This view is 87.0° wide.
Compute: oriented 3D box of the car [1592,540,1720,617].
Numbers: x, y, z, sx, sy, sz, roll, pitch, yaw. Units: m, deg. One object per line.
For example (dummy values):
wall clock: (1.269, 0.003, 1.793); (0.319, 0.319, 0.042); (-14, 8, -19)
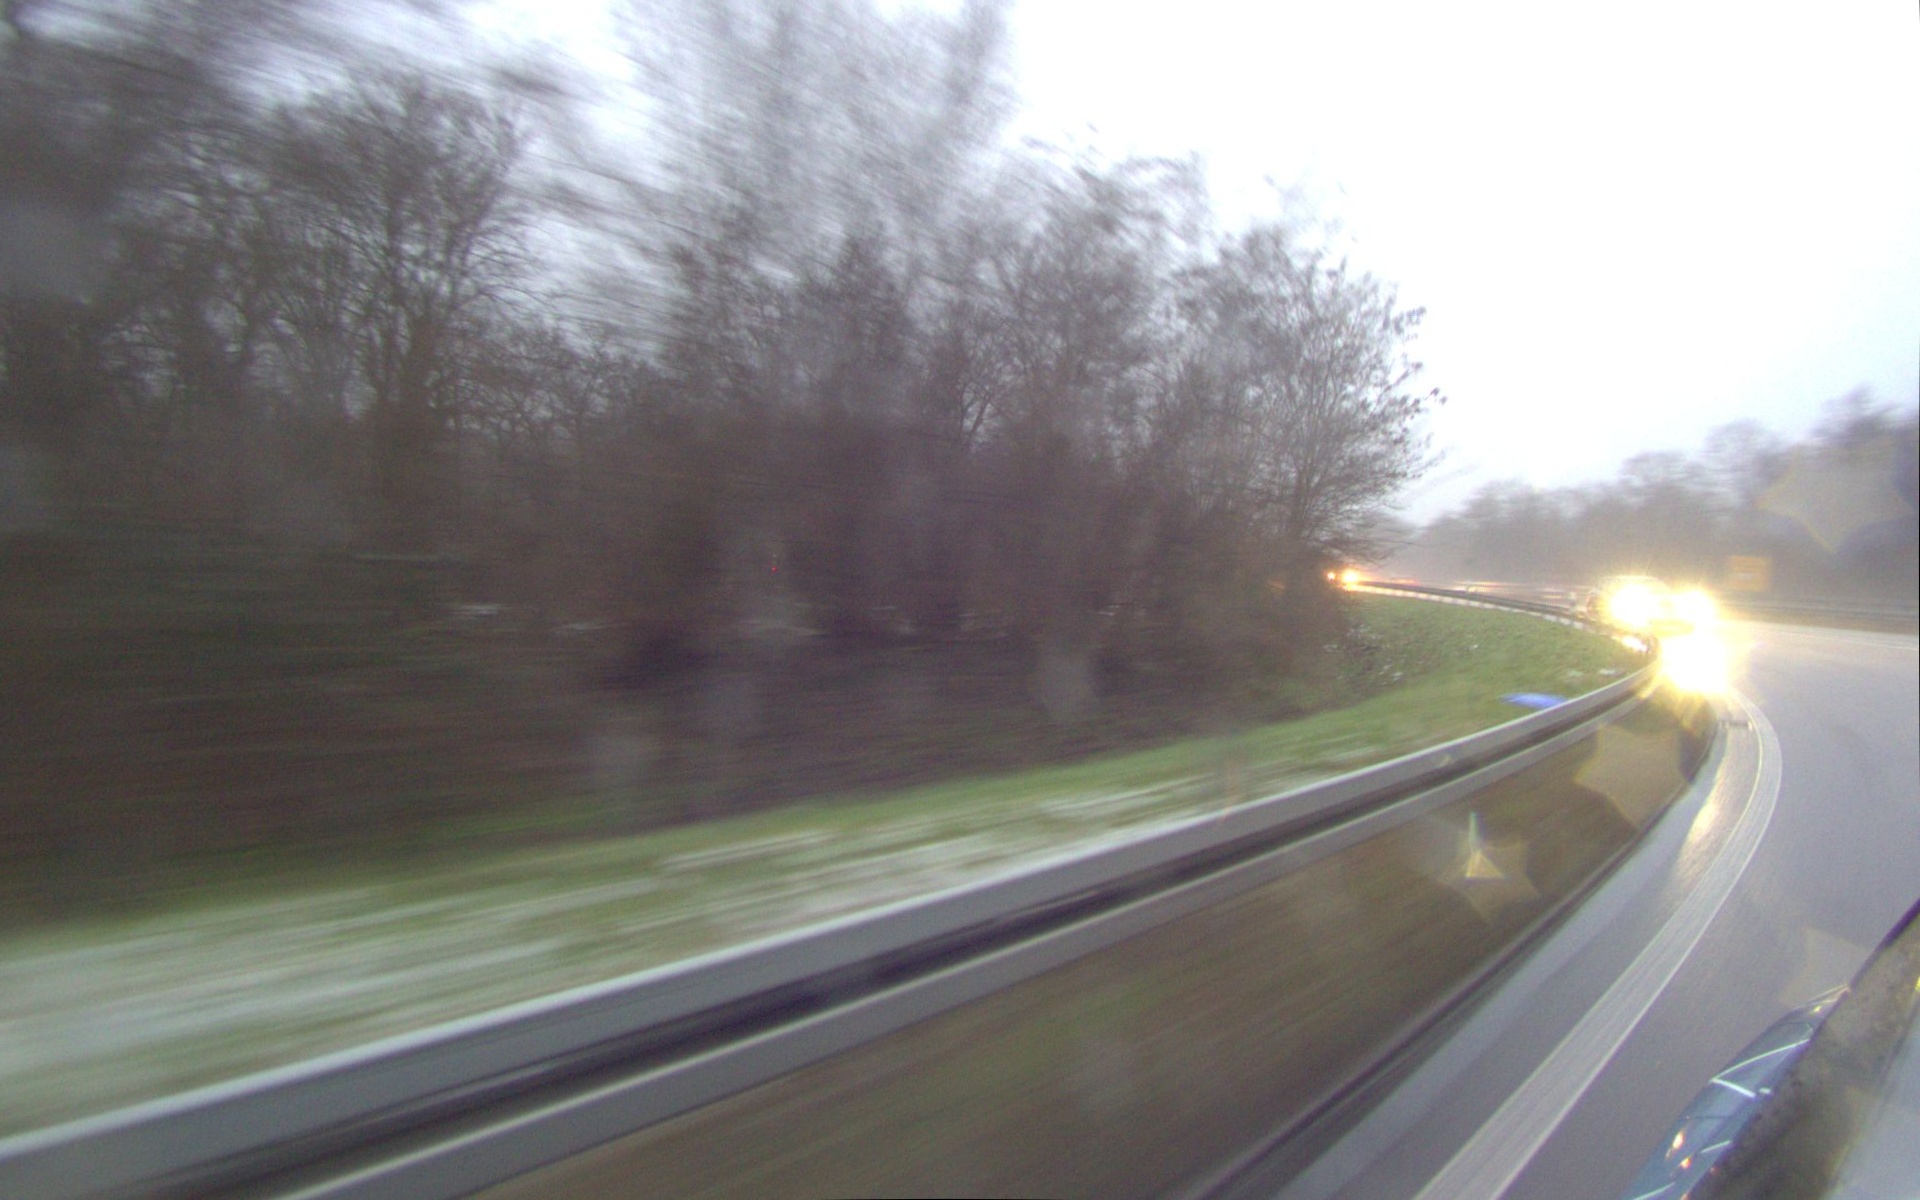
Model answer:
car: (21.203, -0.680, 31.038); (1.974, 2.037, 3.943); (5, 3, 17)

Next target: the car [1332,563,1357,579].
car: (31.317, -2.365, 82.499); (1.462, 1.220, 3.336); (3, 2, 13)
